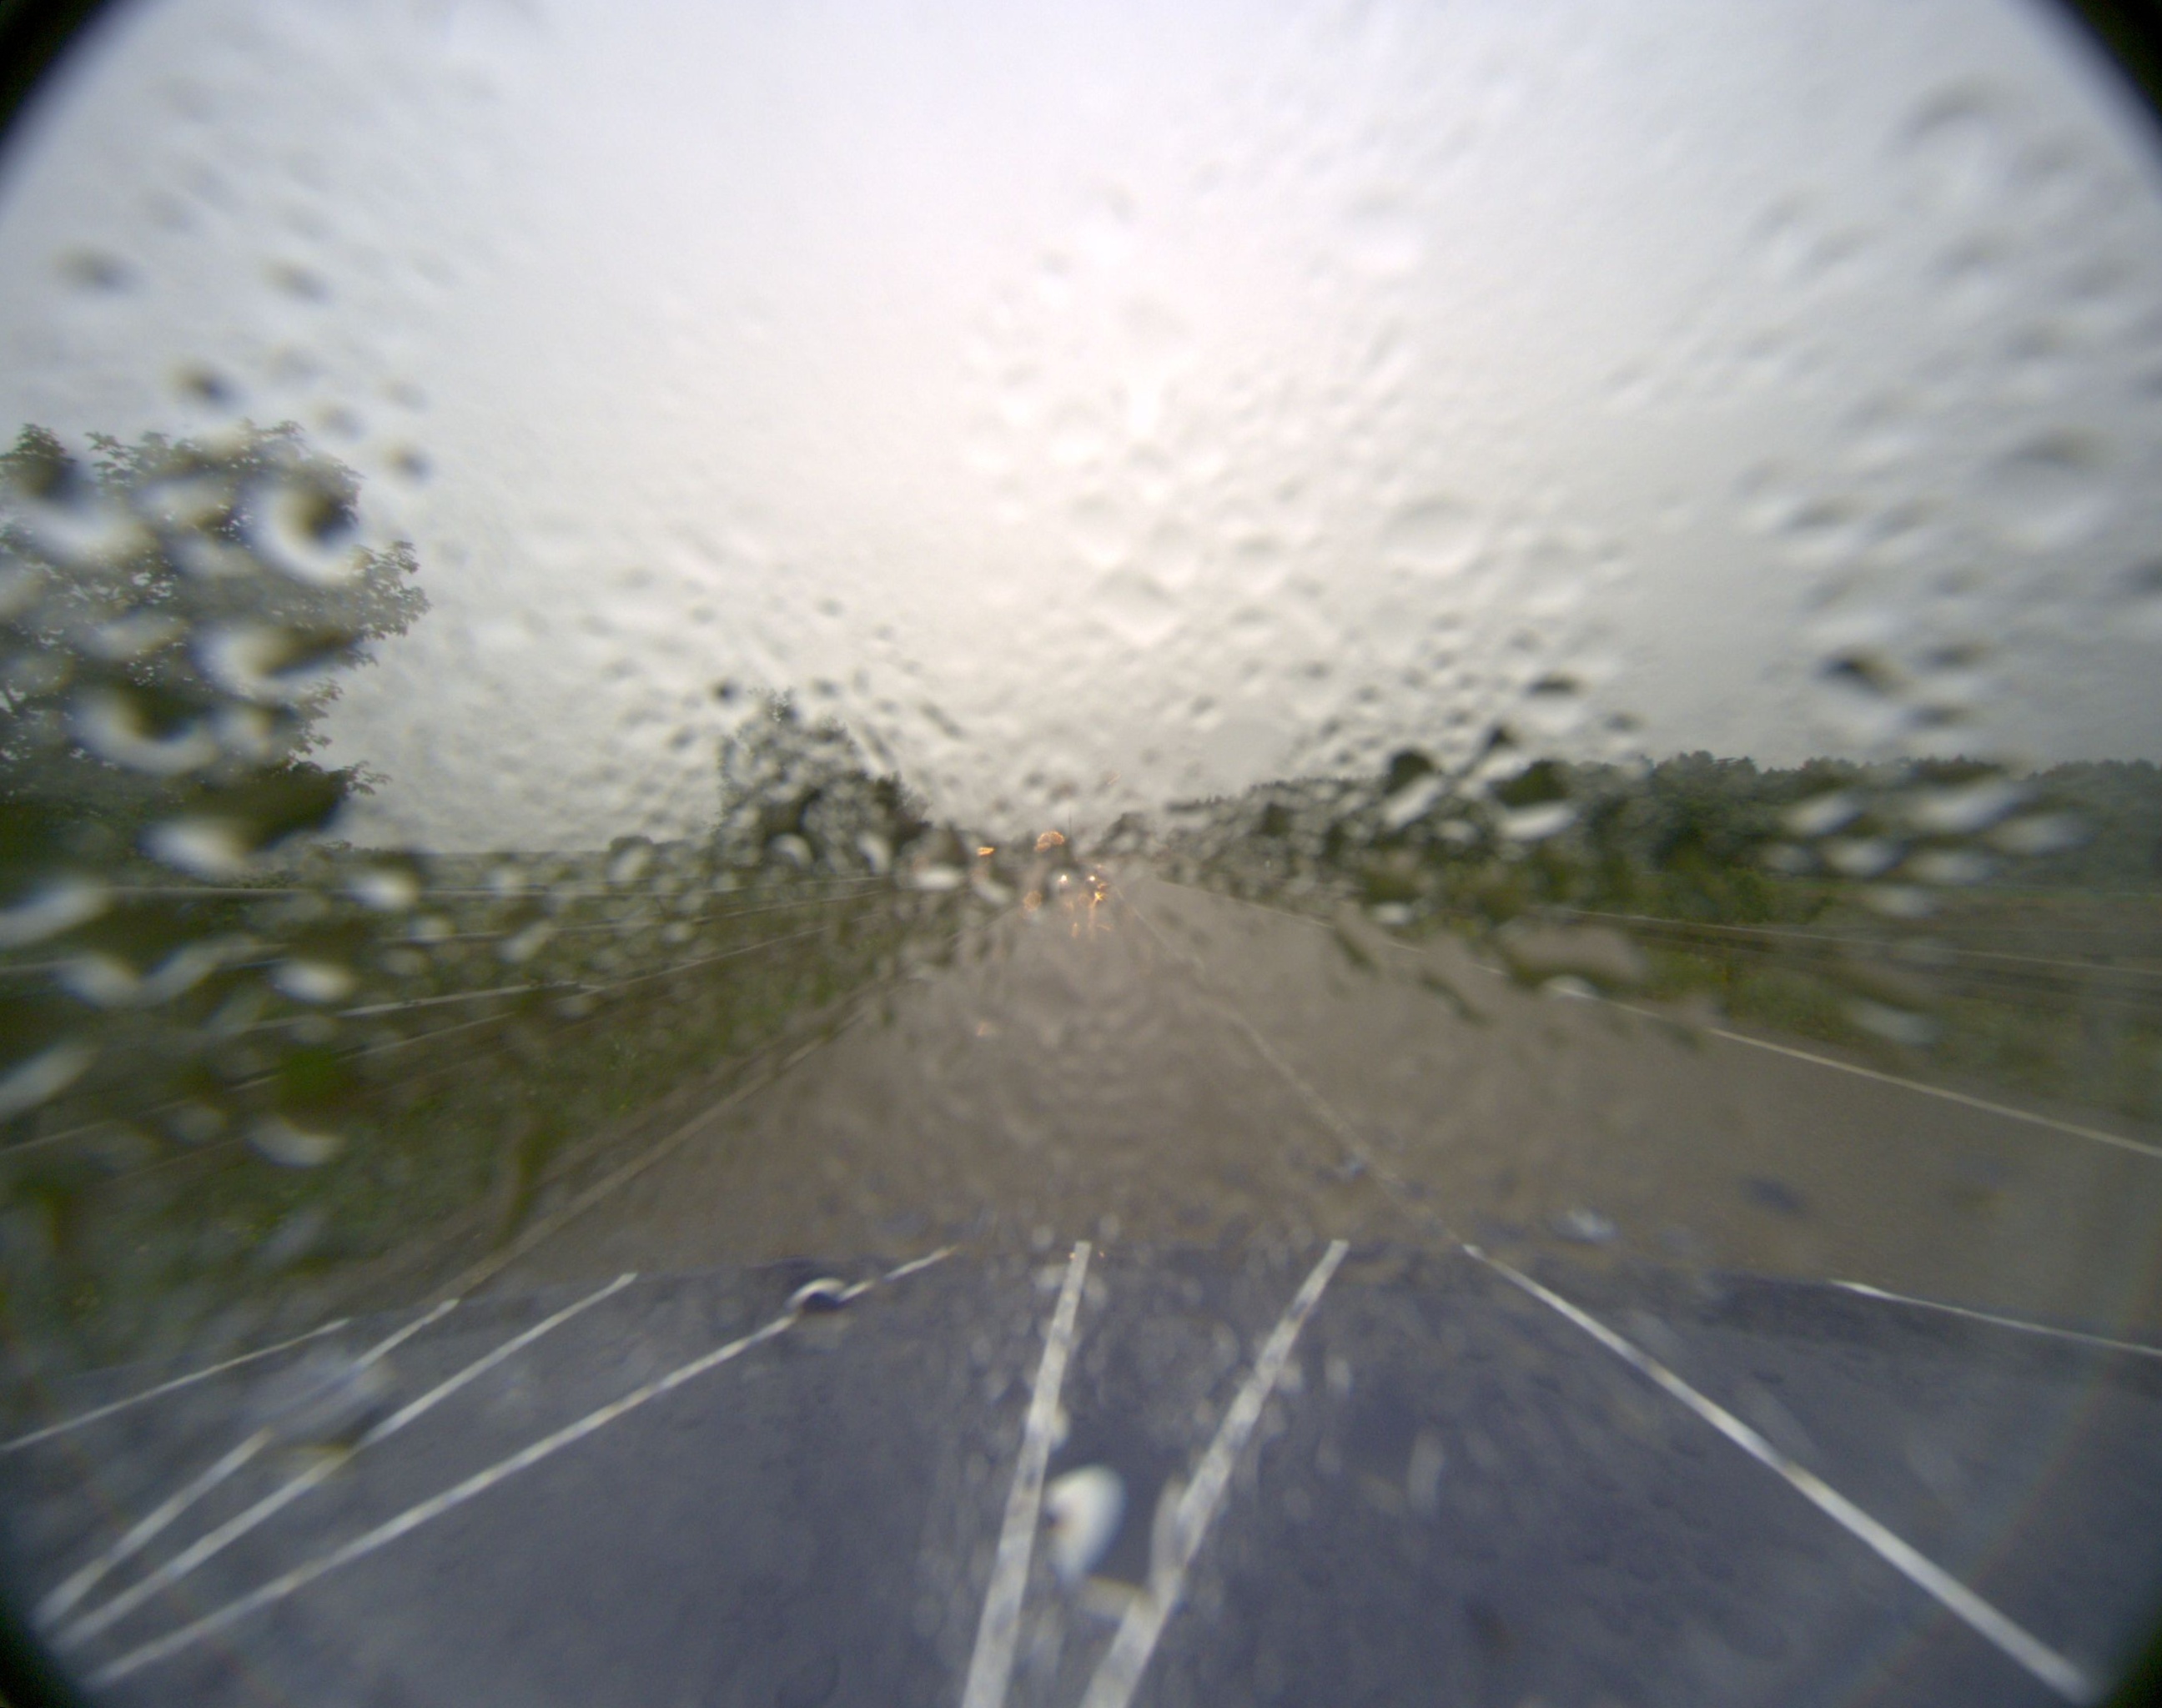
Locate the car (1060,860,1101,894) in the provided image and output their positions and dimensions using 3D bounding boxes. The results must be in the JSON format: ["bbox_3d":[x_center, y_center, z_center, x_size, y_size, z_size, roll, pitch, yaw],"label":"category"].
[{"bbox_3d":[-0.066,1.065,37.108,1.819,1.382,4.067,-3,1,-1],"label":"car"}]
